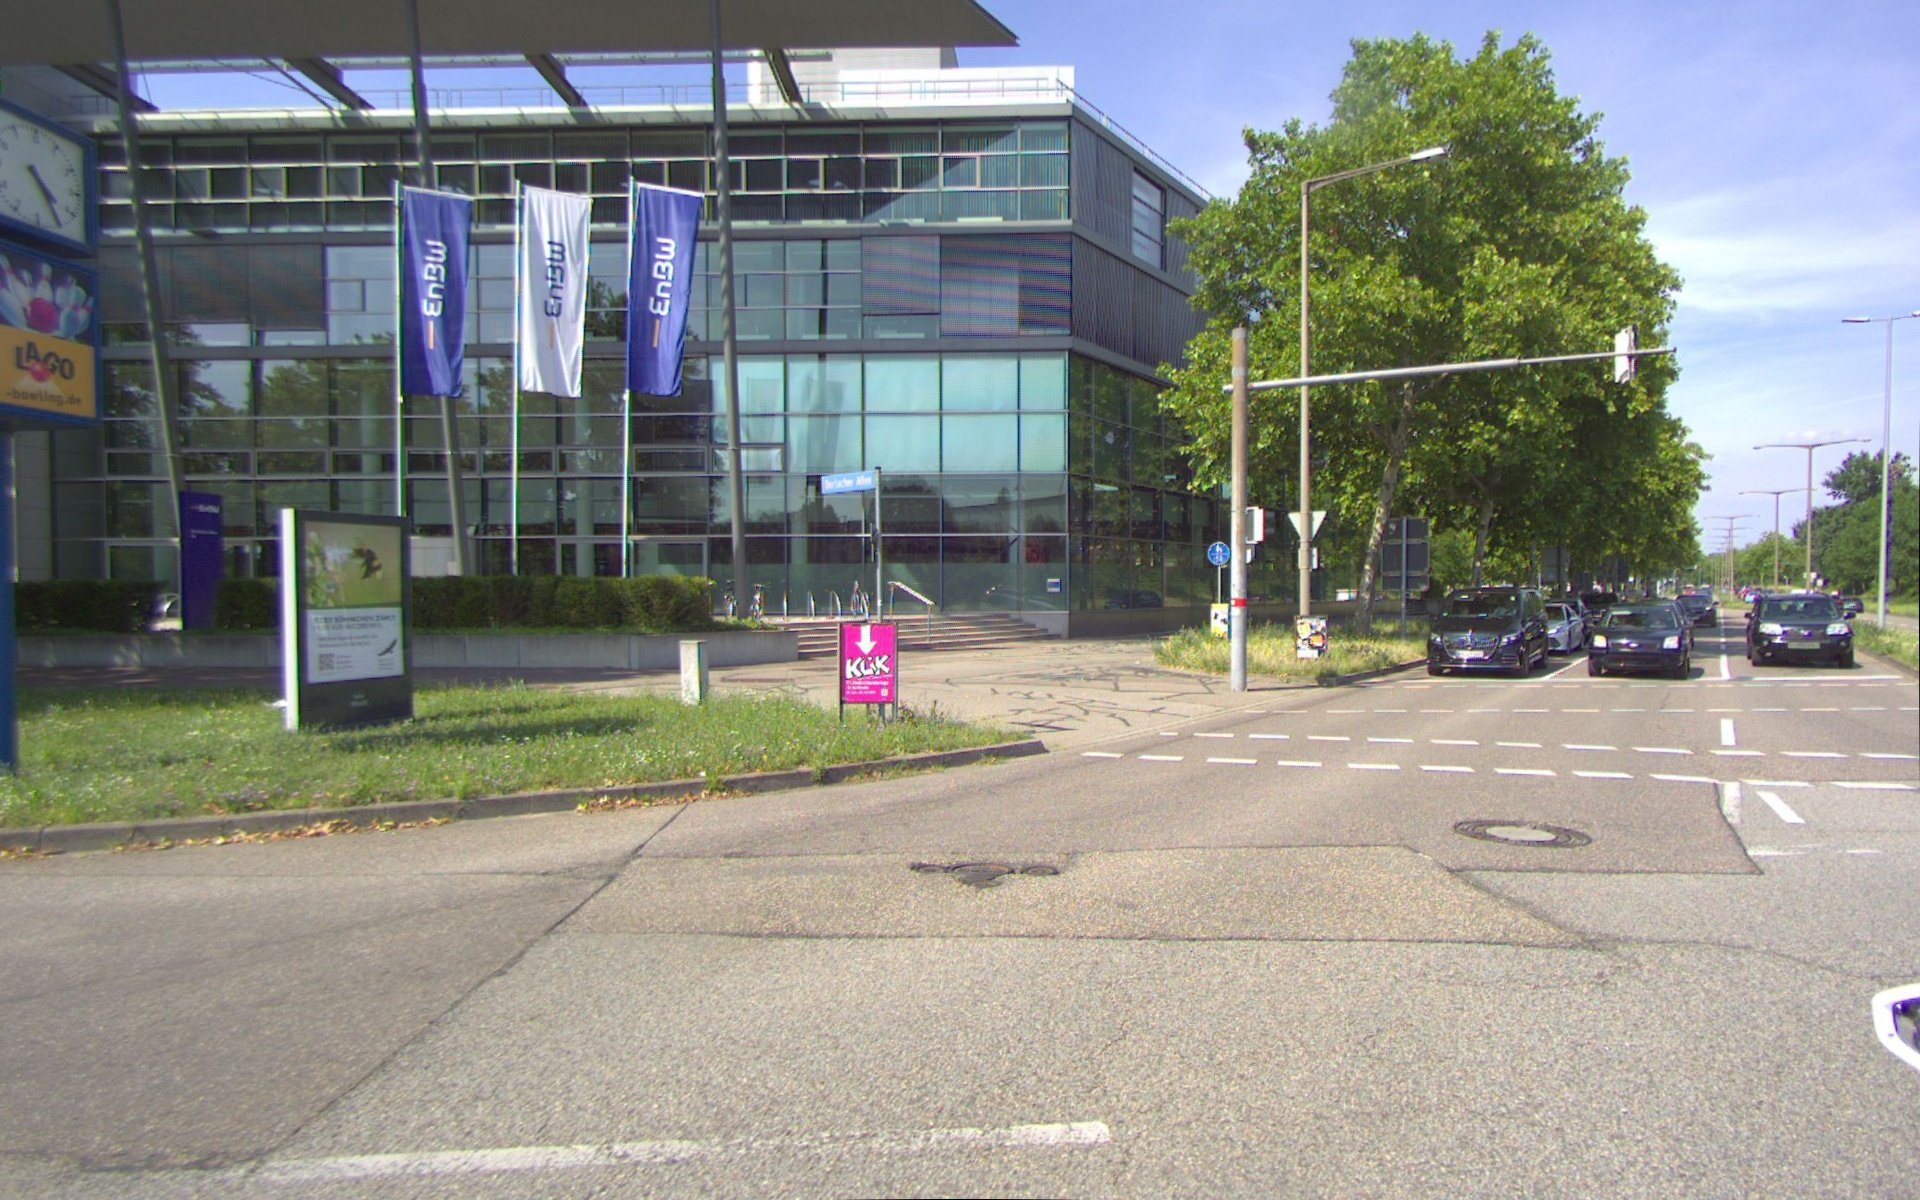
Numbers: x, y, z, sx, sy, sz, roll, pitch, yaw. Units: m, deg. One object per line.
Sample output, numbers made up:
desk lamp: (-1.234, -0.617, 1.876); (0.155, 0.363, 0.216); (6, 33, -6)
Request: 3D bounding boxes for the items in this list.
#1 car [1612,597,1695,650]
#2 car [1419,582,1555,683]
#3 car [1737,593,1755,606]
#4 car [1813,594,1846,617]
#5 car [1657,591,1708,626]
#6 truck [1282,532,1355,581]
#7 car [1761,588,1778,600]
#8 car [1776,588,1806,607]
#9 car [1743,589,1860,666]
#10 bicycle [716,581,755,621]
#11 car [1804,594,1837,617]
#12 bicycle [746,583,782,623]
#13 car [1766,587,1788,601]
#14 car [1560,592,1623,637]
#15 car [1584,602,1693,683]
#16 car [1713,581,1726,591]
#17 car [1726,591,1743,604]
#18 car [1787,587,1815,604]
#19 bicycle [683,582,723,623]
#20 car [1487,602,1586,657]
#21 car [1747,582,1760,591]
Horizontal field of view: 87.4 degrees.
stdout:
car: (21.220, 0.692, 30.648); (1.813, 1.482, 4.498); (-2, -1, 38)
car: (11.971, 0.604, 22.628); (1.913, 1.946, 5.208); (0, 2, 37)
car: (97.681, -0.113, 124.846); (1.605, 1.503, 4.033); (3, 2, 36)
car: (79.487, 0.444, 91.896); (1.992, 1.863, 3.983); (1, 3, 37)
car: (35.870, 0.411, 49.824); (1.968, 1.632, 4.478); (0, 1, 37)
truck: (27.471, -3.271, 77.435); (2.620, 3.441, 8.990); (0, 0, 1)
car: (130.700, -0.985, 162.104); (1.887, 1.870, 3.986); (0, 1, 36)
car: (76.803, -0.253, 92.882); (1.968, 1.706, 3.984); (1, 1, 37)
car: (19.782, 0.564, 23.771); (1.784, 1.637, 4.474); (0, 1, 36)
bicycle: (-6.454, 0.018, 28.976); (0.725, 1.126, 1.886); (0, 1, -1)
car: (67.636, 0.383, 78.983); (1.714, 1.557, 3.983); (1, 3, 37)
bicycle: (-5.671, 0.079, 29.103); (0.725, 1.126, 1.800); (0, 1, -1)
car: (103.093, -0.789, 126.798); (1.968, 1.651, 4.071); (1, 1, 37)
car: (28.101, 0.622, 44.631); (1.968, 1.859, 4.633); (-1, 0, 37)
car: (14.563, 0.818, 21.472); (1.739, 1.495, 3.942); (0, 1, 37)
car: (151.017, -2.776, 199.832); (1.969, 1.885, 3.983); (0, 0, 38)
car: (117.653, -0.415, 152.610); (1.887, 1.870, 3.986); (0, 1, 36)
car: (86.213, -0.479, 103.042); (1.968, 1.731, 4.246); (0, 0, 37)
bicycle: (-7.389, 0.065, 28.935); (0.725, 1.126, 1.800); (0, 1, -1)
car: (17.096, 0.822, 29.650); (1.868, 1.468, 4.983); (-1, -1, 38)
car: (160.523, -2.723, 203.150); (1.887, 1.870, 3.986); (0, 1, 36)
